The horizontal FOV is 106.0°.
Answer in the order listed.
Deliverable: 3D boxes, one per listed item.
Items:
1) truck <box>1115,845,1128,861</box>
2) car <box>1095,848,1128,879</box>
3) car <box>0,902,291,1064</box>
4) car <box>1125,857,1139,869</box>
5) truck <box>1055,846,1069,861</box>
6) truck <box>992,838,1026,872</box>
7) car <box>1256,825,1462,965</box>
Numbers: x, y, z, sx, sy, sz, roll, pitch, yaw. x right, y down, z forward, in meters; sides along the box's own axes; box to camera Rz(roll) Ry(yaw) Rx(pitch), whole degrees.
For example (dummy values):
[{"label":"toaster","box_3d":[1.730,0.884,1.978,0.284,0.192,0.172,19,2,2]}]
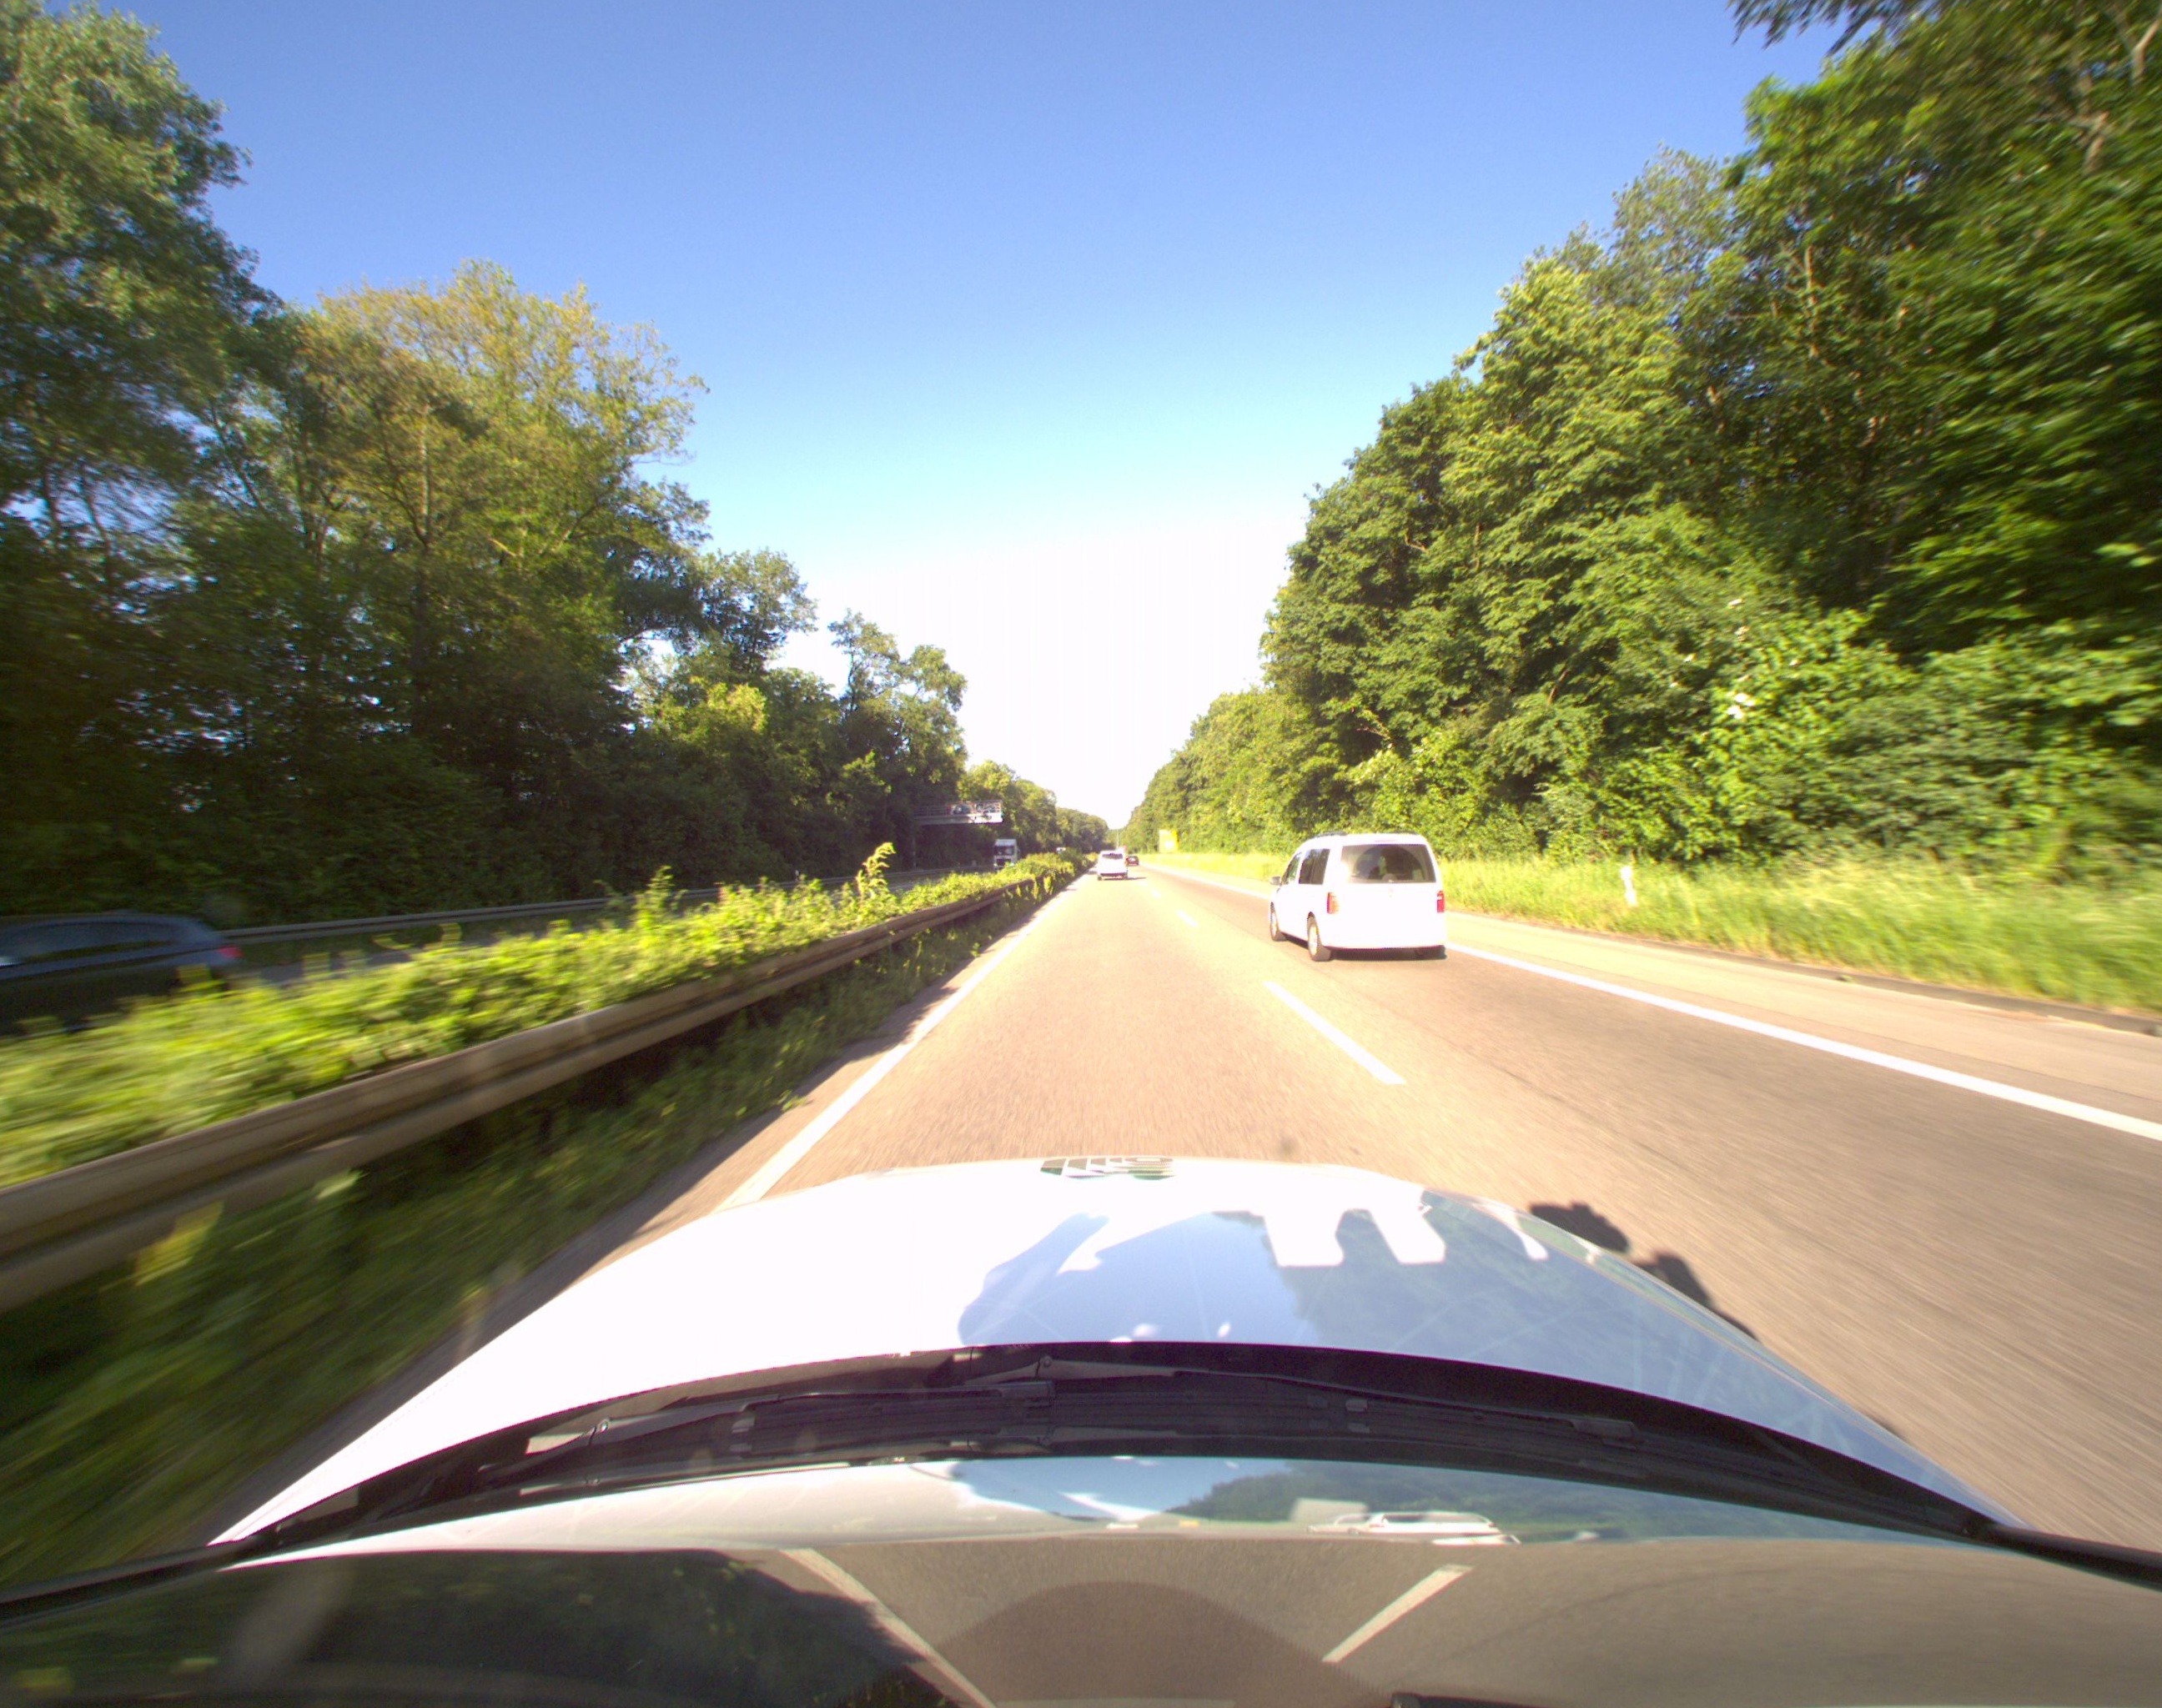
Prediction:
[{"label":"truck","box_3d":[11.622,-0.235,234.061,3.720,4.343,9.309,-1,-1,2]},{"label":"car","box_3d":[1.877,0.565,50.372,1.944,1.782,4.589,-1,-1,1]},{"label":"car","box_3d":[-11.493,1.371,8.606,1.727,1.408,4.558,-1,0,2]},{"label":"car","box_3d":[7.633,1.343,122.637,1.944,1.782,4.589,-1,-1,1]},{"label":"truck","box_3d":[-5.075,-0.113,217.176,3.216,4.013,5.679,-1,0,2]},{"label":"truck","box_3d":[-8.727,0.187,100.271,2.758,3.955,11.472,-1,-1,2]},{"label":"car","box_3d":[4.134,0.556,12.960,1.792,1.813,4.589,-1,-1,1]}]
